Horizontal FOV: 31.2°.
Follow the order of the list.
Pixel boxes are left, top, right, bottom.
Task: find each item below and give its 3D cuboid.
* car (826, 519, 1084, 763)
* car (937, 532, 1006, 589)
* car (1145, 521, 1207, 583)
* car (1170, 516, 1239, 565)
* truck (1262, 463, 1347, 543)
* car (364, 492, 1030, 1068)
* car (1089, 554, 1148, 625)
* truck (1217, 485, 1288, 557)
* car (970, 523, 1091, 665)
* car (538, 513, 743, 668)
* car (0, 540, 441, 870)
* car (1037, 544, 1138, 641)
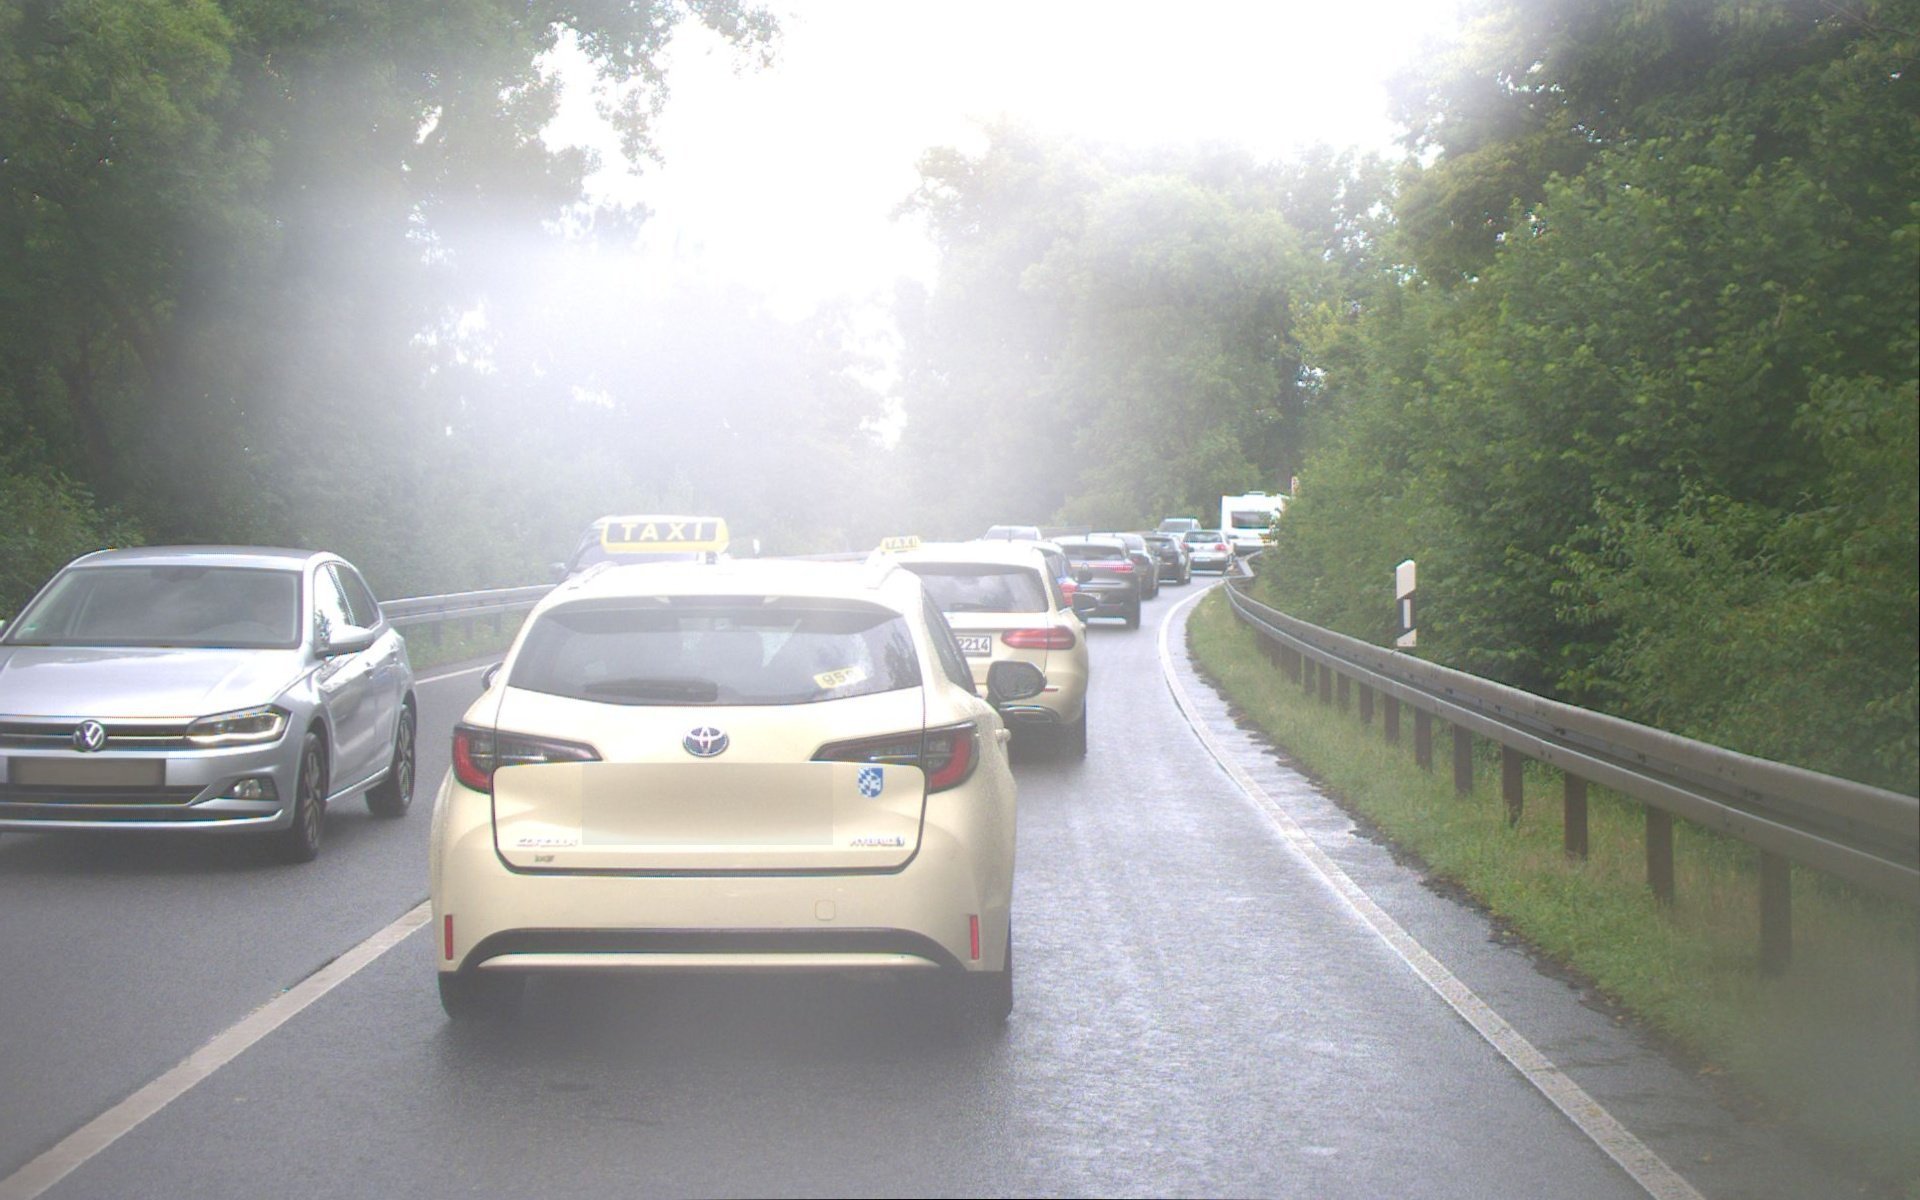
[{"bbox_3d":[-0.010,0.251,24.406,1.667,1.575,3.892,1,0,1],"label":"car"},{"bbox_3d":[0.344,-1.097,94.300,1.807,1.527,4.206,0,1,1],"label":"car"},{"bbox_3d":[5.828,-1.286,92.890,1.616,1.607,3.621,1,0,3],"label":"car"},{"bbox_3d":[7.950,-1.922,111.577,1.770,1.541,3.812,1,0,11],"label":"car"},{"bbox_3d":[16.692,-4.667,166.190,3.109,3.668,6.996,1,0,14],"label":"truck"},{"bbox_3d":[-0.704,0.484,11.618,1.834,1.575,4.156,1,0,1],"label":"car"},{"bbox_3d":[3.554,-0.237,76.883,1.167,1.541,2.603,1,0,6],"label":"car"},{"bbox_3d":[11.523,-3.086,135.863,2.550,2.704,7.534,1,0,3],"label":"truck"},{"bbox_3d":[0.783,-0.076,39.193,1.300,1.541,3.260,1,0,0],"label":"car"},{"bbox_3d":[-3.647,-0.121,39.964,1.815,1.680,4.622,1,0,2],"label":"car"},{"bbox_3d":[-3.743,0.440,16.935,1.728,1.426,3.849,1,0,1],"label":"car"},{"bbox_3d":[2.121,-0.116,56.825,1.611,1.541,3.813,0,0,3],"label":"car"}]
